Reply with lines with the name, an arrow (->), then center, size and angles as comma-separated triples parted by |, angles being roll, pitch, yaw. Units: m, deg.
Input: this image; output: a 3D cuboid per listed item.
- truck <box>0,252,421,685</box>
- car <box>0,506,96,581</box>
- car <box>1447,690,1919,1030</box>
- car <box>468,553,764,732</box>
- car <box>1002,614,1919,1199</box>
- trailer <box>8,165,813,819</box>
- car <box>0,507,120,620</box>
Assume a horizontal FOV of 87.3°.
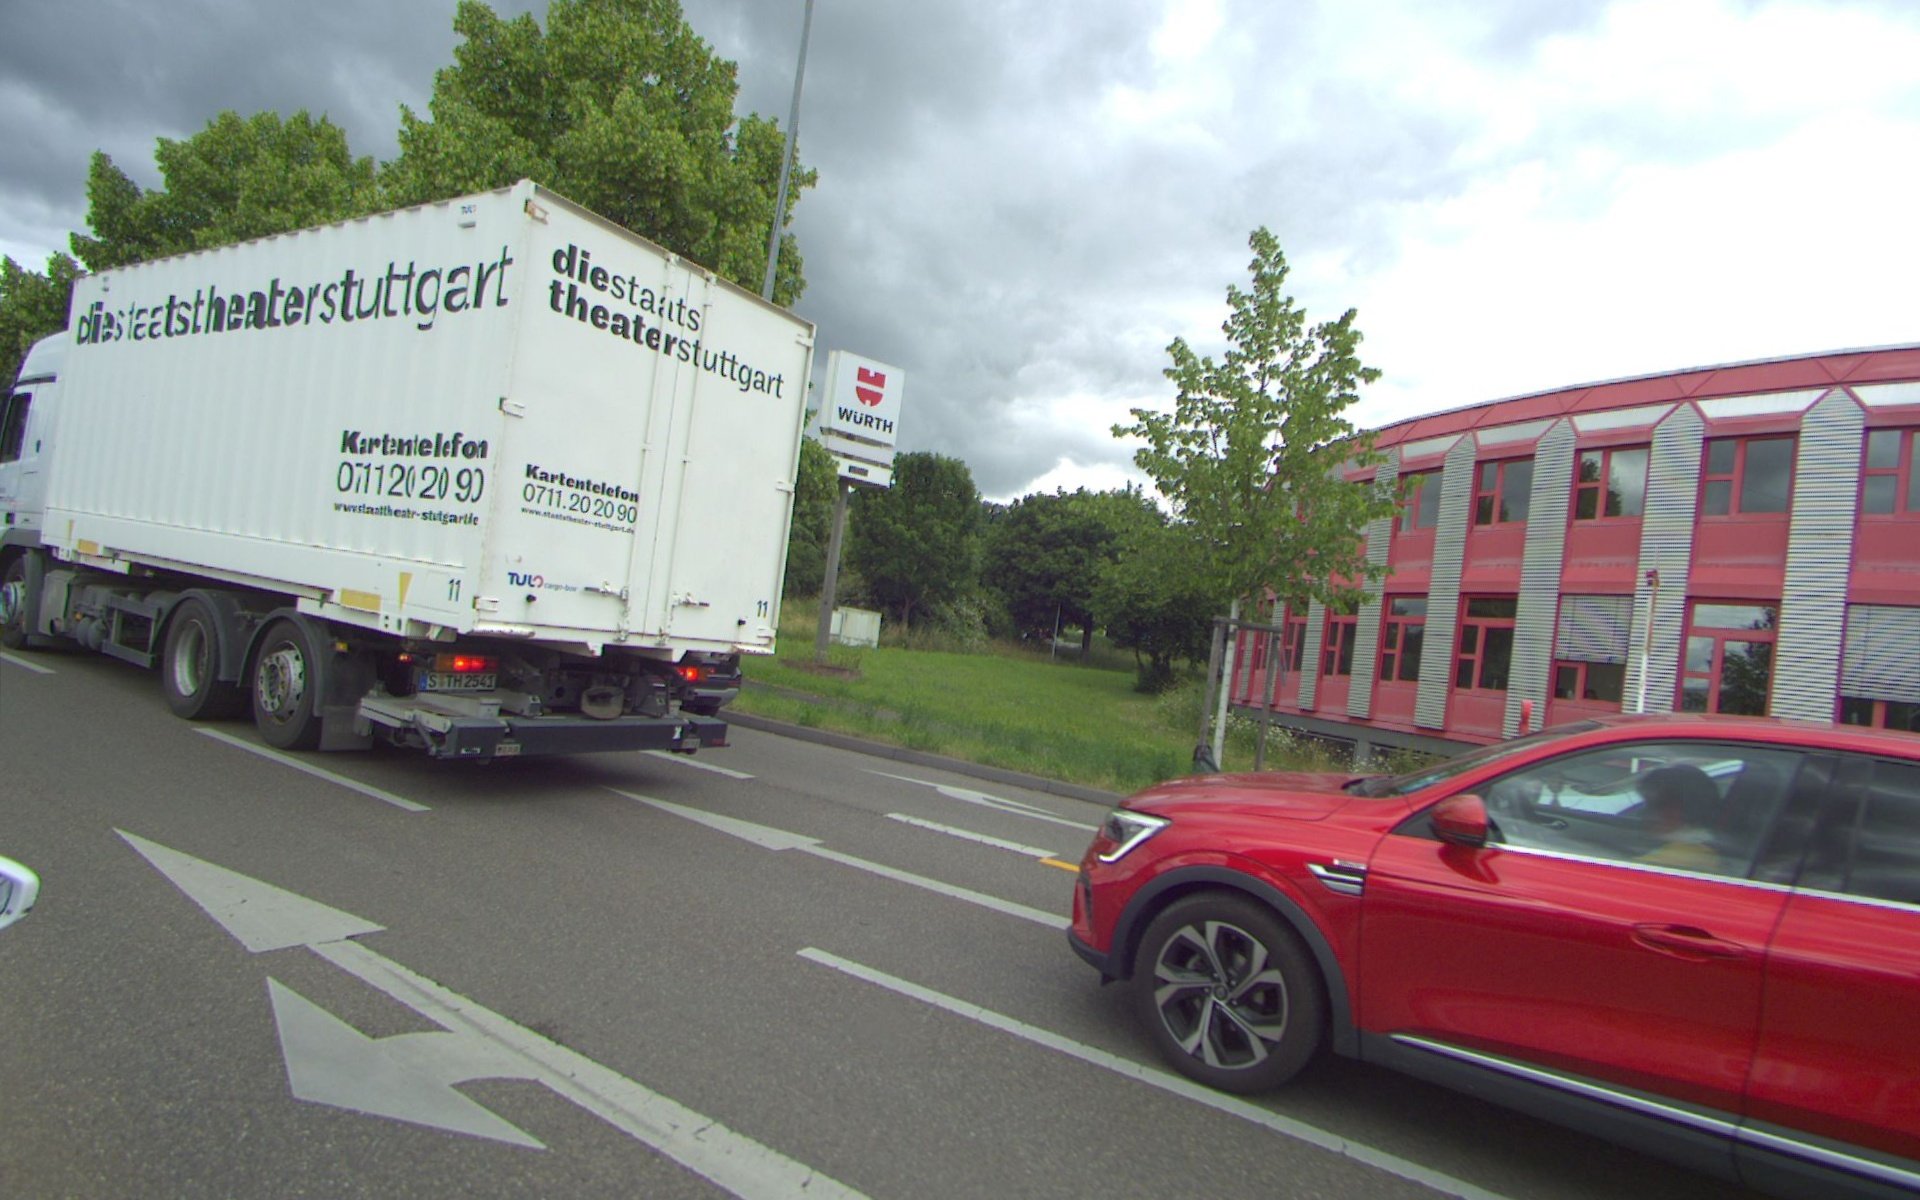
truck -> -8.476, -1.267, 10.980 | 4.039, 3.750, 2.574 | 7, 0, 33
car -> -25.276, -1.564, 27.802 | 1.696, 1.656, 4.200 | 10, -3, -38
car -> 5.220, 1.595, 6.302 | 3.628, 1.474, 1.626 | 7, -2, 32
car -> -4.080, 0.492, 11.894 | 3.008, 1.588, 1.574 | 8, -2, 31
car -> 2.463, 1.106, 3.506 | 4.251, 1.542, 1.709 | 7, -1, 35
trailer -> -5.249, -0.875, 8.882 | 7.637, 3.750, 2.569 | 7, -1, 33
car -> -14.022, -0.664, 14.369 | 4.050, 1.370, 1.815 | 6, -2, 32
